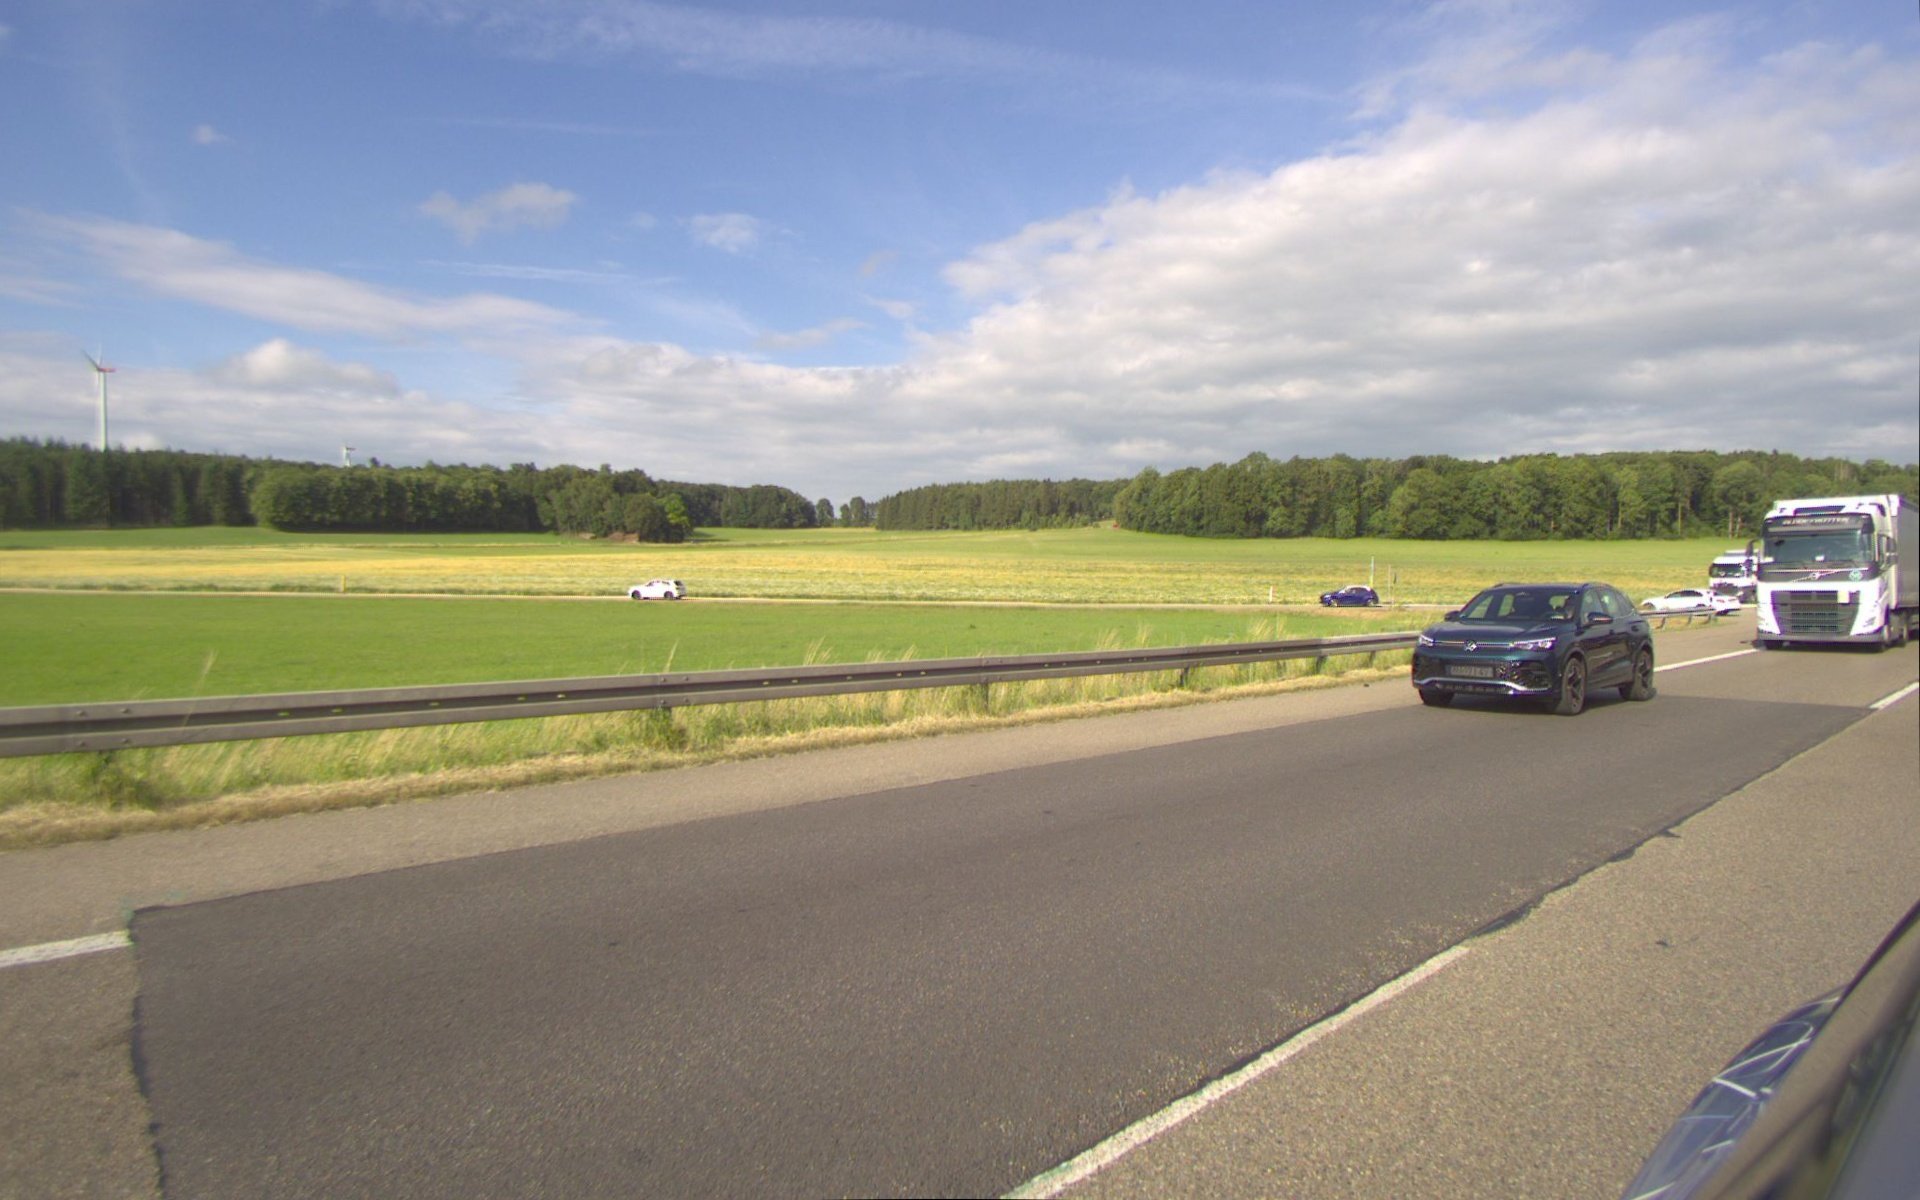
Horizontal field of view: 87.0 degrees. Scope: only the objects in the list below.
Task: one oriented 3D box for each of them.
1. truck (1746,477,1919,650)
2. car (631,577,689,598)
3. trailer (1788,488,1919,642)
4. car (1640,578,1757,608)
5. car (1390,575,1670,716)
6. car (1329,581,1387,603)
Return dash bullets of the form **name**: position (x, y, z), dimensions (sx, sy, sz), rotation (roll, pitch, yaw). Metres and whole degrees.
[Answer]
- **truck**: position (23.416, -0.903, 26.783), dimensions (6.386, 4.040, 2.841), rotation (-1, 0, -40)
- **car**: position (-23.744, -1.010, 80.242), dimensions (3.933, 1.638, 1.996), rotation (0, 0, 8)
- **trailer**: position (28.865, -1.001, 31.306), dimensions (11.913, 4.032, 2.825), rotation (-1, 0, -40)
- **car**: position (41.170, -0.393, 56.619), dimensions (1.958, 1.565, 5.091), rotation (-1, 1, -18)
- **car**: position (7.774, 0.485, 13.663), dimensions (4.046, 1.616, 1.998), rotation (-1, 1, -40)
- **car**: position (27.933, -0.573, 71.144), dimensions (3.505, 1.549, 1.719), rotation (0, 0, 12)
